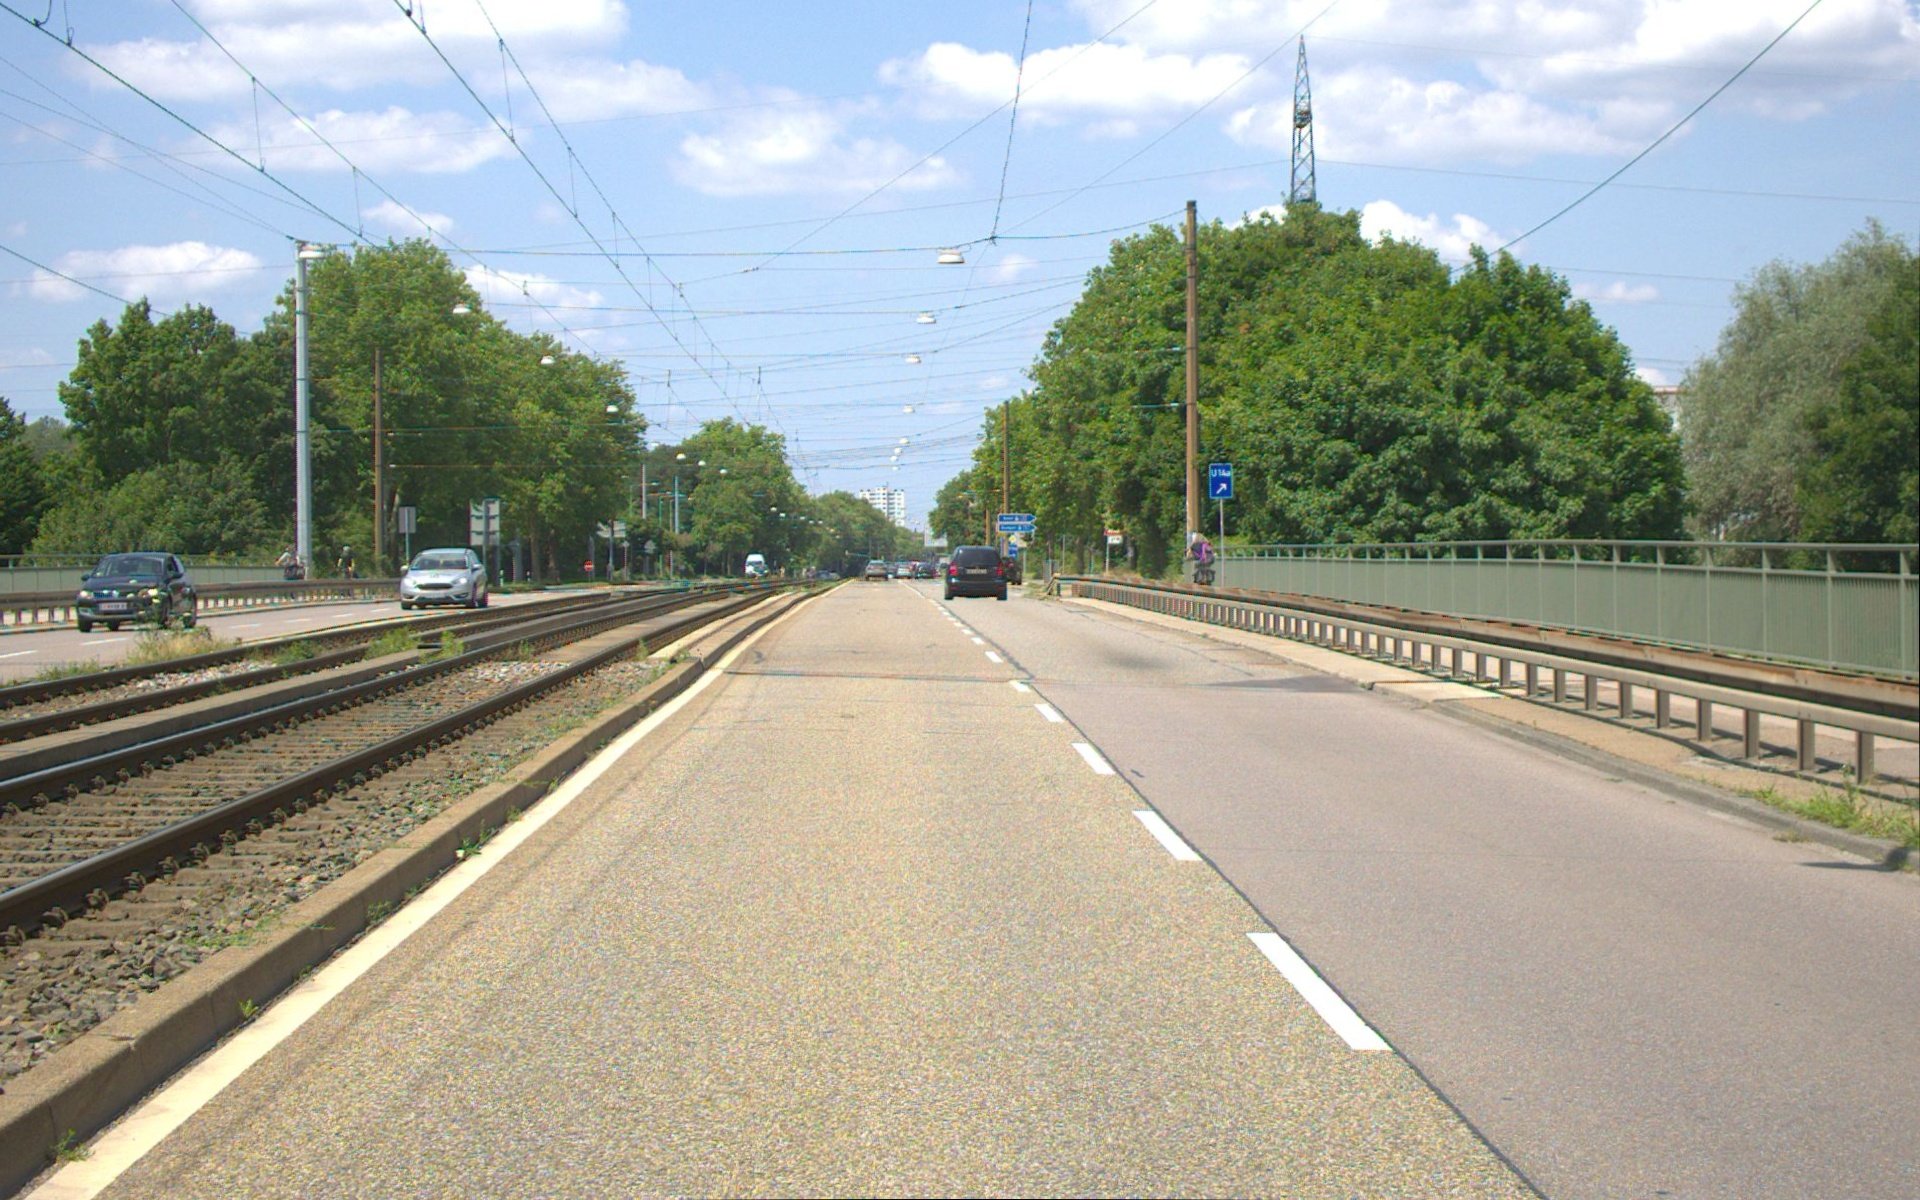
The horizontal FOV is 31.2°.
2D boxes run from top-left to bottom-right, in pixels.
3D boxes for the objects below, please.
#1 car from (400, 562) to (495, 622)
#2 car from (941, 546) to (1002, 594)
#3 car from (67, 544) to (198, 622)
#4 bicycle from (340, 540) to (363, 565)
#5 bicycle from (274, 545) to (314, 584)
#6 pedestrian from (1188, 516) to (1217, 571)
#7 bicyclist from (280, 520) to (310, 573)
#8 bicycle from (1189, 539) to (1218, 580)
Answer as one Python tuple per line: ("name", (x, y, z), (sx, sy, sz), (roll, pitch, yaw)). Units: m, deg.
("car", (-12.633, -0.217, 84.946), (1.711, 1.415, 4.624), (-1, 1, -1))
("car", (0.325, -0.882, 99.930), (1.586, 1.338, 3.273), (-1, 1, -3))
("car", (-15.420, -0.326, 64.214), (1.574, 1.395, 3.938), (-1, 1, -2))
("bicycle", (-20.810, -1.623, 117.642), (0.522, 0.840, 2.036), (1, 1, -3))
("bicycle", (-20.538, -1.108, 106.050), (0.857, 1.181, 2.062), (1, 1, -2))
("pedestrian", (6.113, -1.419, 86.615), (0.628, 1.369, 1.050), (-1, 0, -1))
("bicyclist", (-20.519, -1.645, 106.145), (0.763, 1.616, 0.838), (1, 1, -1))
("bicycle", (6.120, -1.019, 86.550), (0.559, 1.021, 1.848), (-1, 0, -1))
